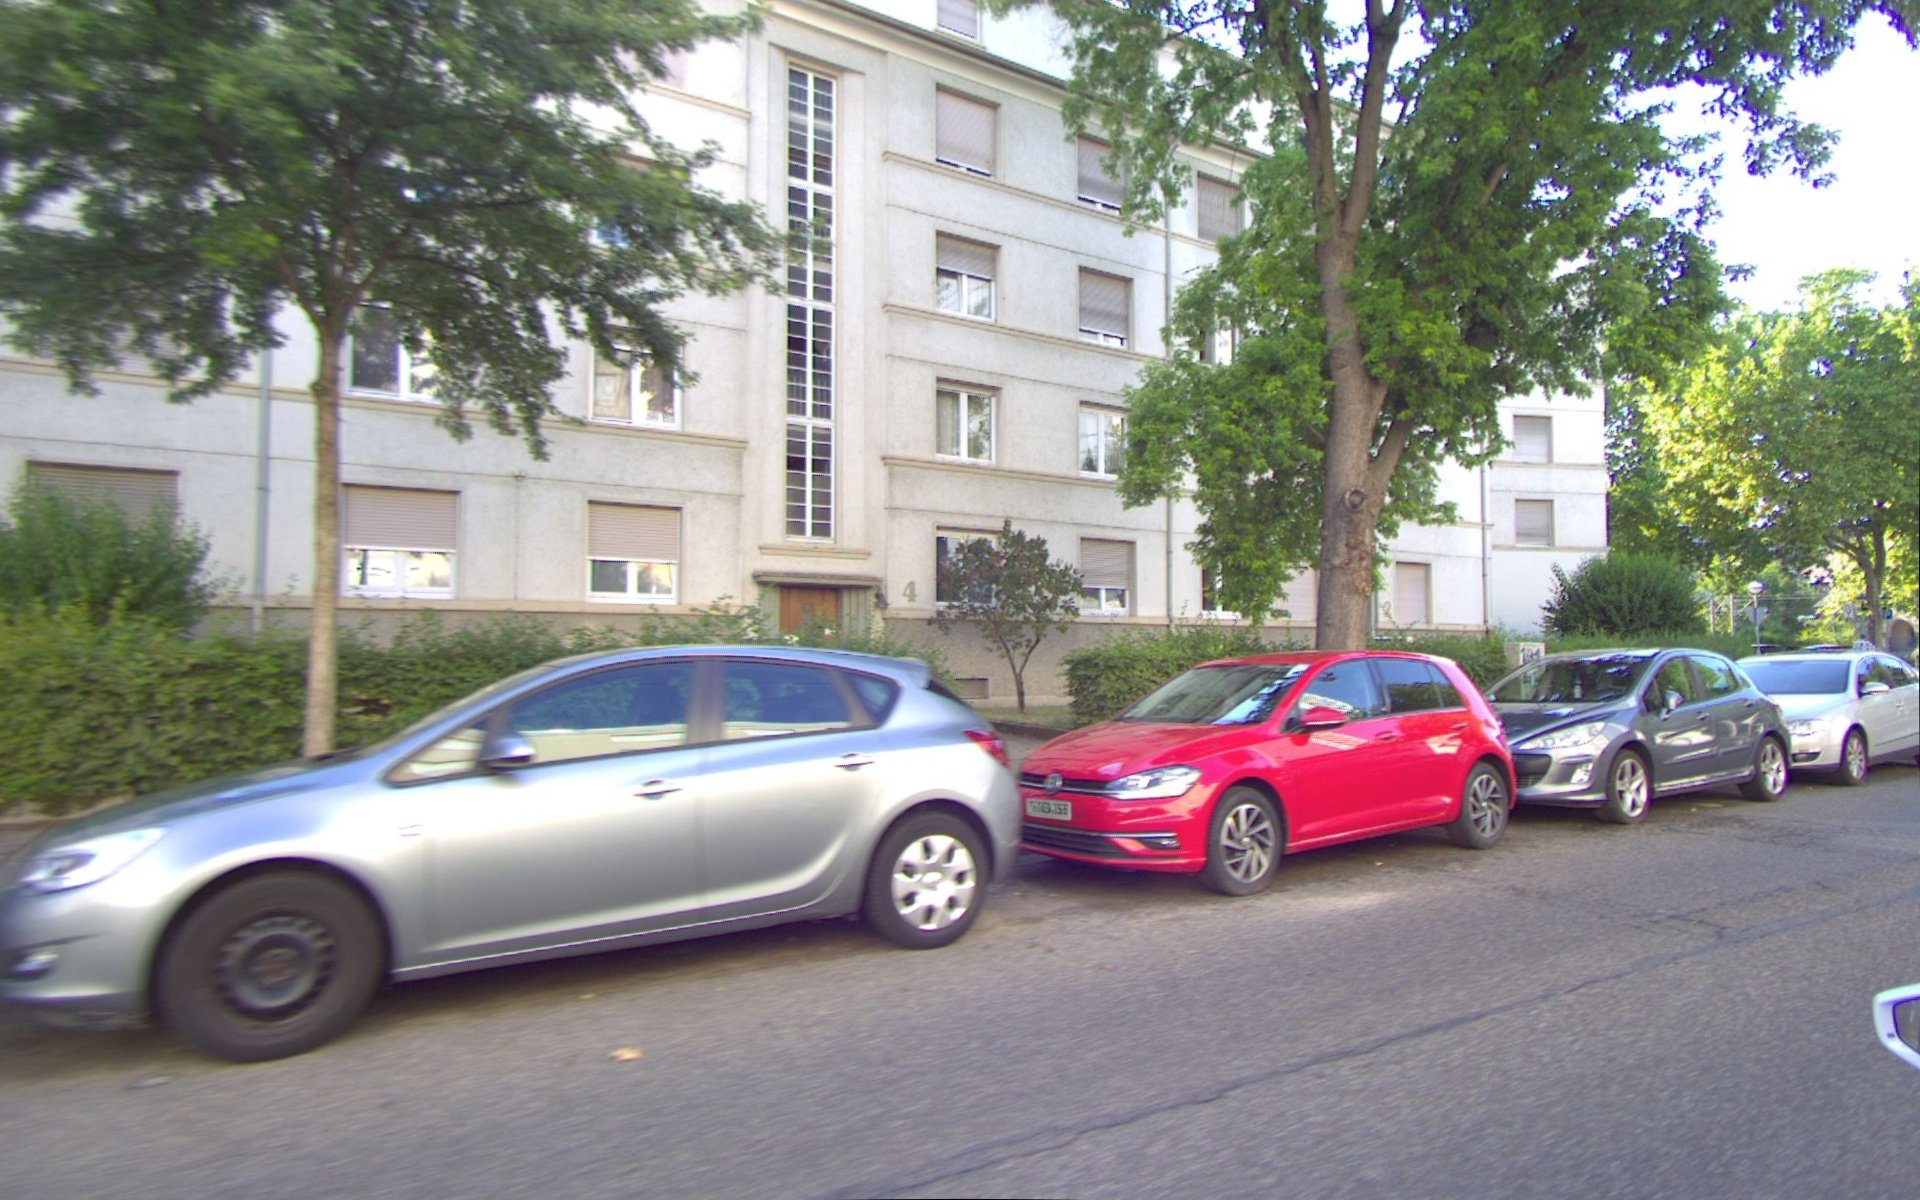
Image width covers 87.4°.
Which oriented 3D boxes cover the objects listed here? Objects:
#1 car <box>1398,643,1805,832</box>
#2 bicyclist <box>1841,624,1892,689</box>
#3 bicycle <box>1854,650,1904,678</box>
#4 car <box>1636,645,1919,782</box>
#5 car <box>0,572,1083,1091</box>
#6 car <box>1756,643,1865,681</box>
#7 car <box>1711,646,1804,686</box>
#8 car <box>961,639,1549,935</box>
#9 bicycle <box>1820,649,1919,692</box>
[{"bbox_3d":[6.310,1.211,9.779,4.081,1.458,1.695,3,-2,-31],"label":"car"},{"bbox_3d":[29.292,1.823,32.461,0.781,2.040,0.978,1,-1,5],"label":"bicyclist"},{"bbox_3d":[39.604,2.774,43.269,3.254,1.160,0.714,3,-2,-31],"label":"bicycle"},{"bbox_3d":[10.467,1.301,12.351,4.656,1.370,1.761,3,-2,-31],"label":"car"},{"bbox_3d":[-1.730,0.834,4.886,4.445,1.578,1.862,3,-4,-31],"label":"car"},{"bbox_3d":[36.667,2.659,43.325,3.586,1.537,1.752,0,-3,-12],"label":"car"},{"bbox_3d":[36.845,3.013,46.416,3.947,1.639,1.868,-1,-2,-27],"label":"car"},{"bbox_3d":[2.168,1.153,7.237,3.954,1.578,1.862,3,-5,-31],"label":"car"},{"bbox_3d":[29.468,2.264,32.444,2.433,1.281,1.012,2,-2,4],"label":"bicycle"}]
